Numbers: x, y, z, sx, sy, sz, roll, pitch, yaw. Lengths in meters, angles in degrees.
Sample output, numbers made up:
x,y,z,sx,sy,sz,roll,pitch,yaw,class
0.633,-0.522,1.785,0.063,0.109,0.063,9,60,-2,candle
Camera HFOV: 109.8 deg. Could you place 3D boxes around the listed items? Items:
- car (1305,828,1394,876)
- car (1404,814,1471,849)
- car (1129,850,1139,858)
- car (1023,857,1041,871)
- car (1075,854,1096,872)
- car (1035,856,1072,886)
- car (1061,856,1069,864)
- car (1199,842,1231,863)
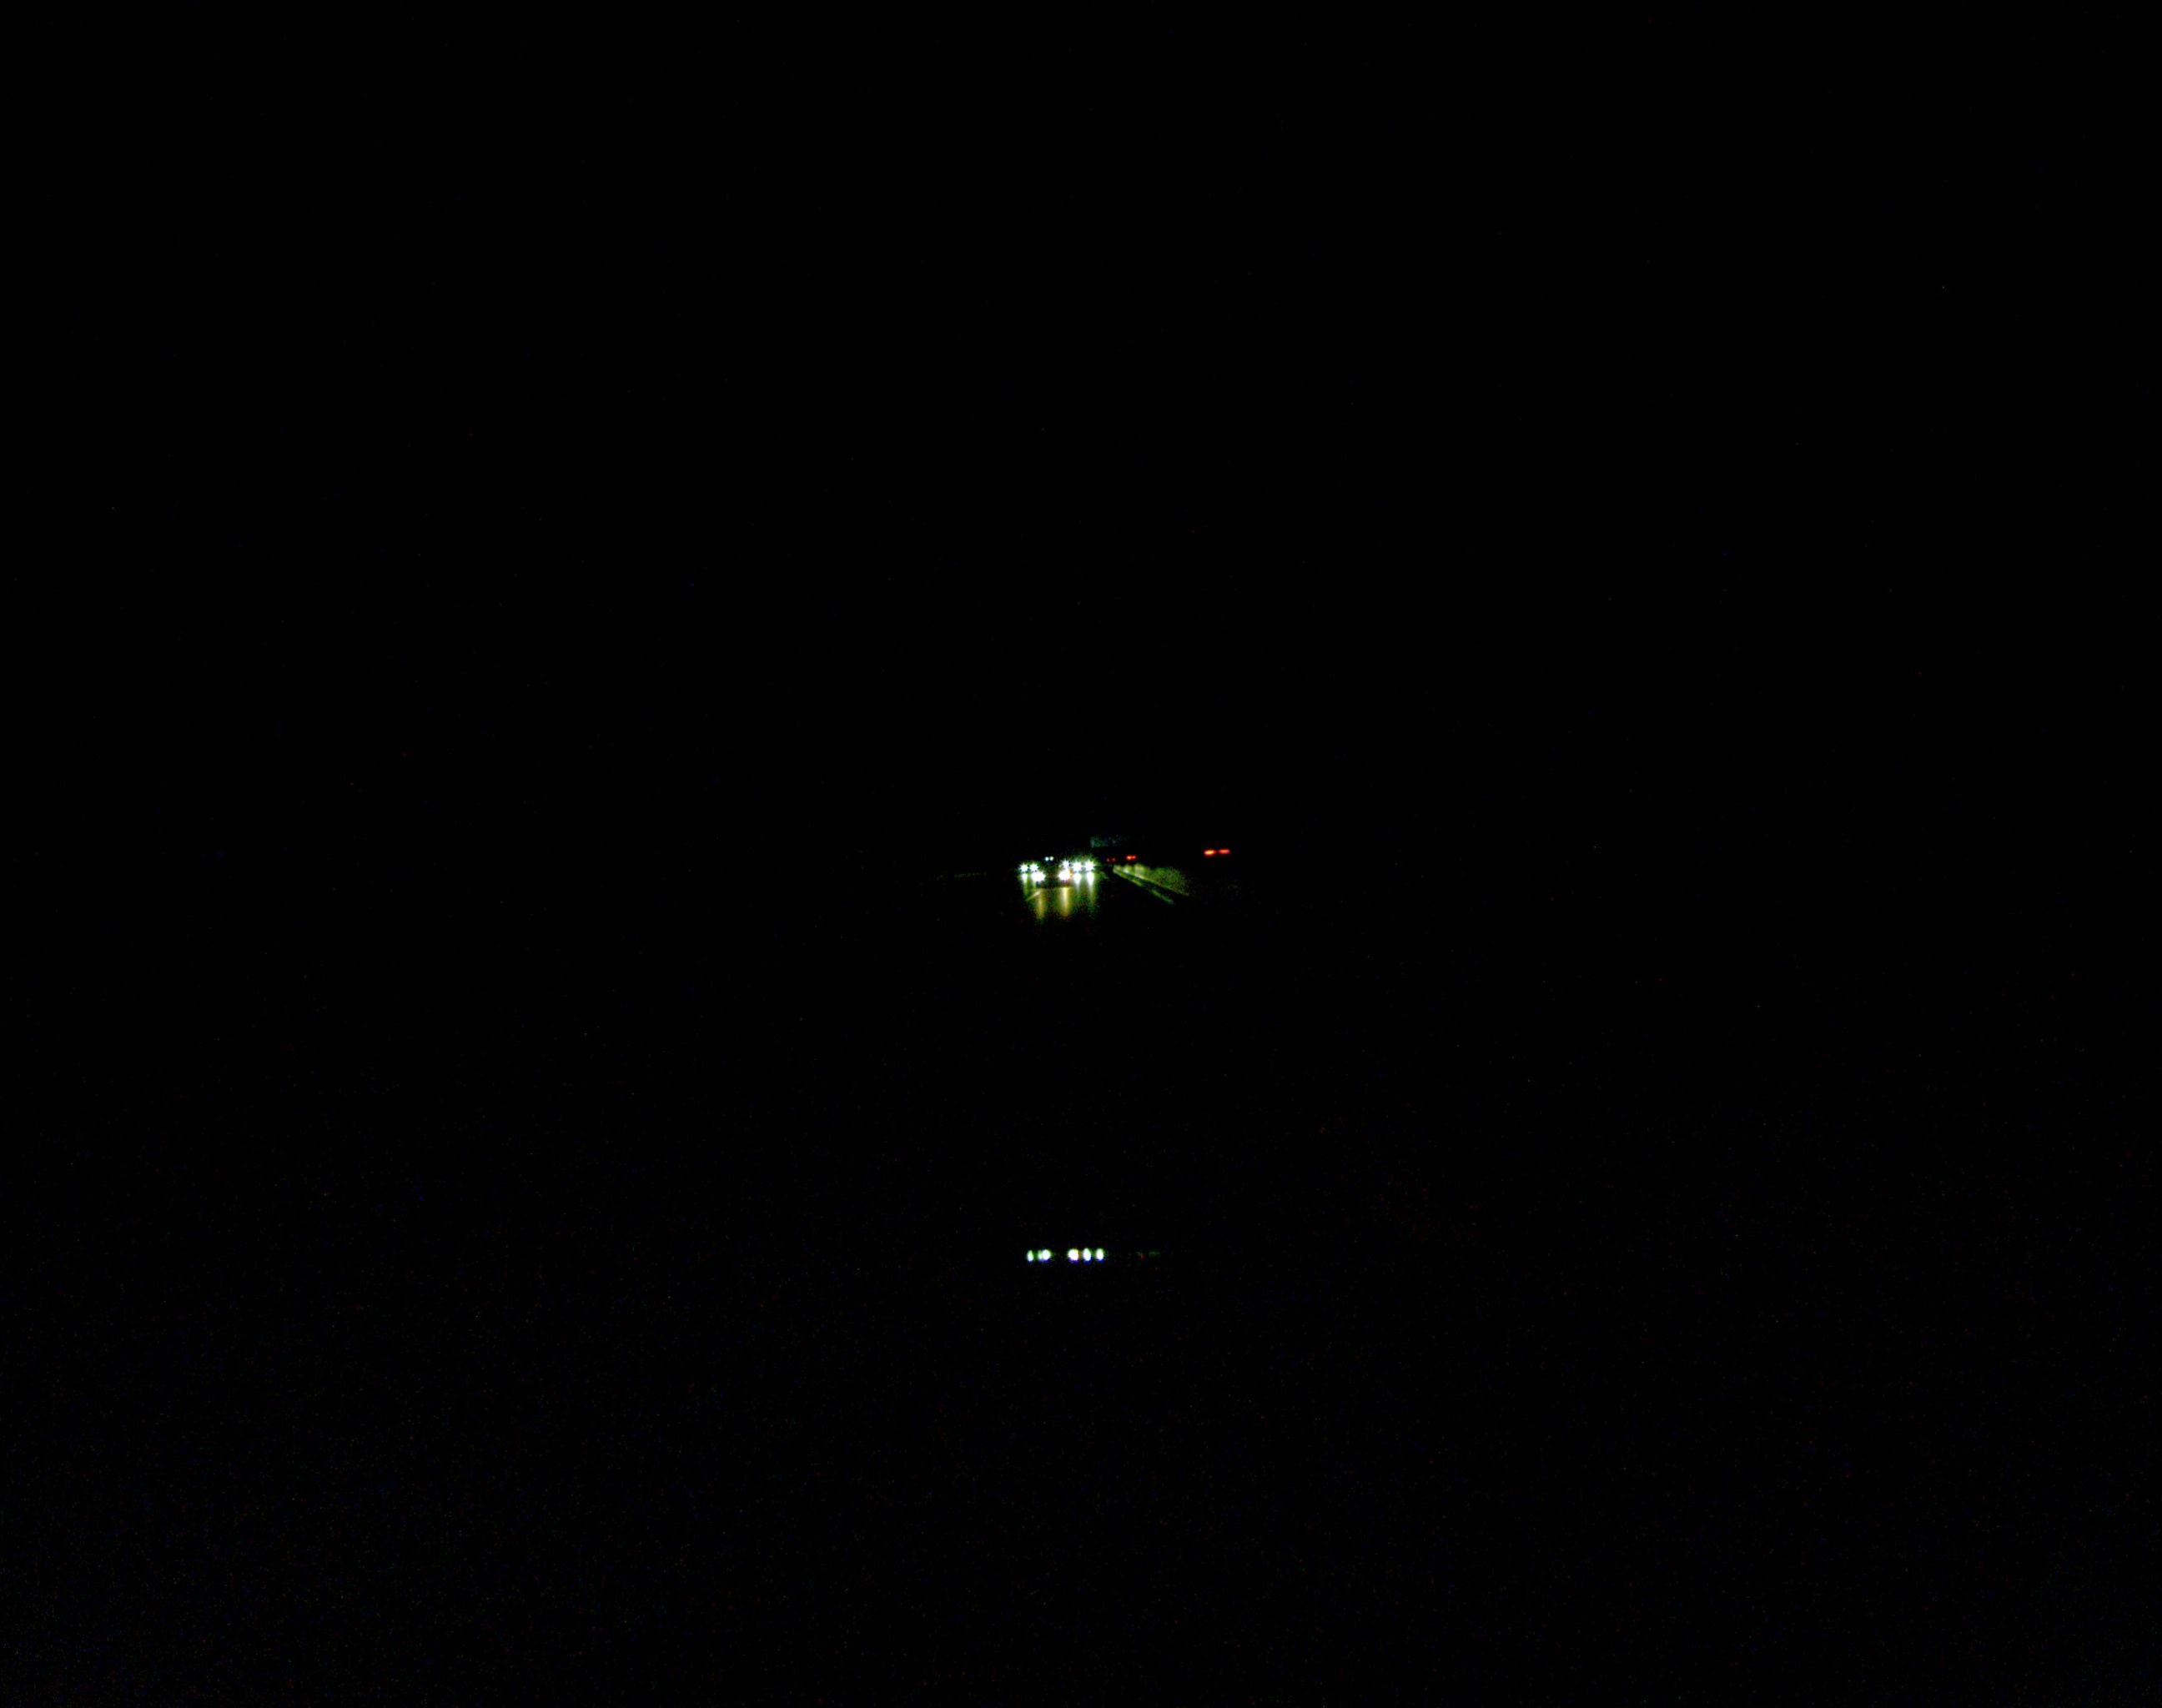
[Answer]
x,y,z,sx,sy,sz,roll,pitch,yaw,class
11.566,-0.047,33.098,1.998,1.765,4.748,-5,0,-1,car
21.135,-1.293,45.245,1.999,1.914,3.999,-2,0,-1,car
12.341,0.041,178.128,1.938,1.552,4.453,-5,0,0,car
-7.072,1.429,110.445,1.998,1.707,5.168,-6,-1,1,car
0.522,0.966,81.662,2.012,1.652,4.001,-5,0,2,car
-1.521,0.951,42.850,1.840,1.392,5.069,-6,-1,-1,car
-3.898,1.441,186.254,1.940,1.608,4.000,-5,0,-2,car
12.984,-0.127,74.103,1.998,1.765,5.170,-5,0,-1,car
